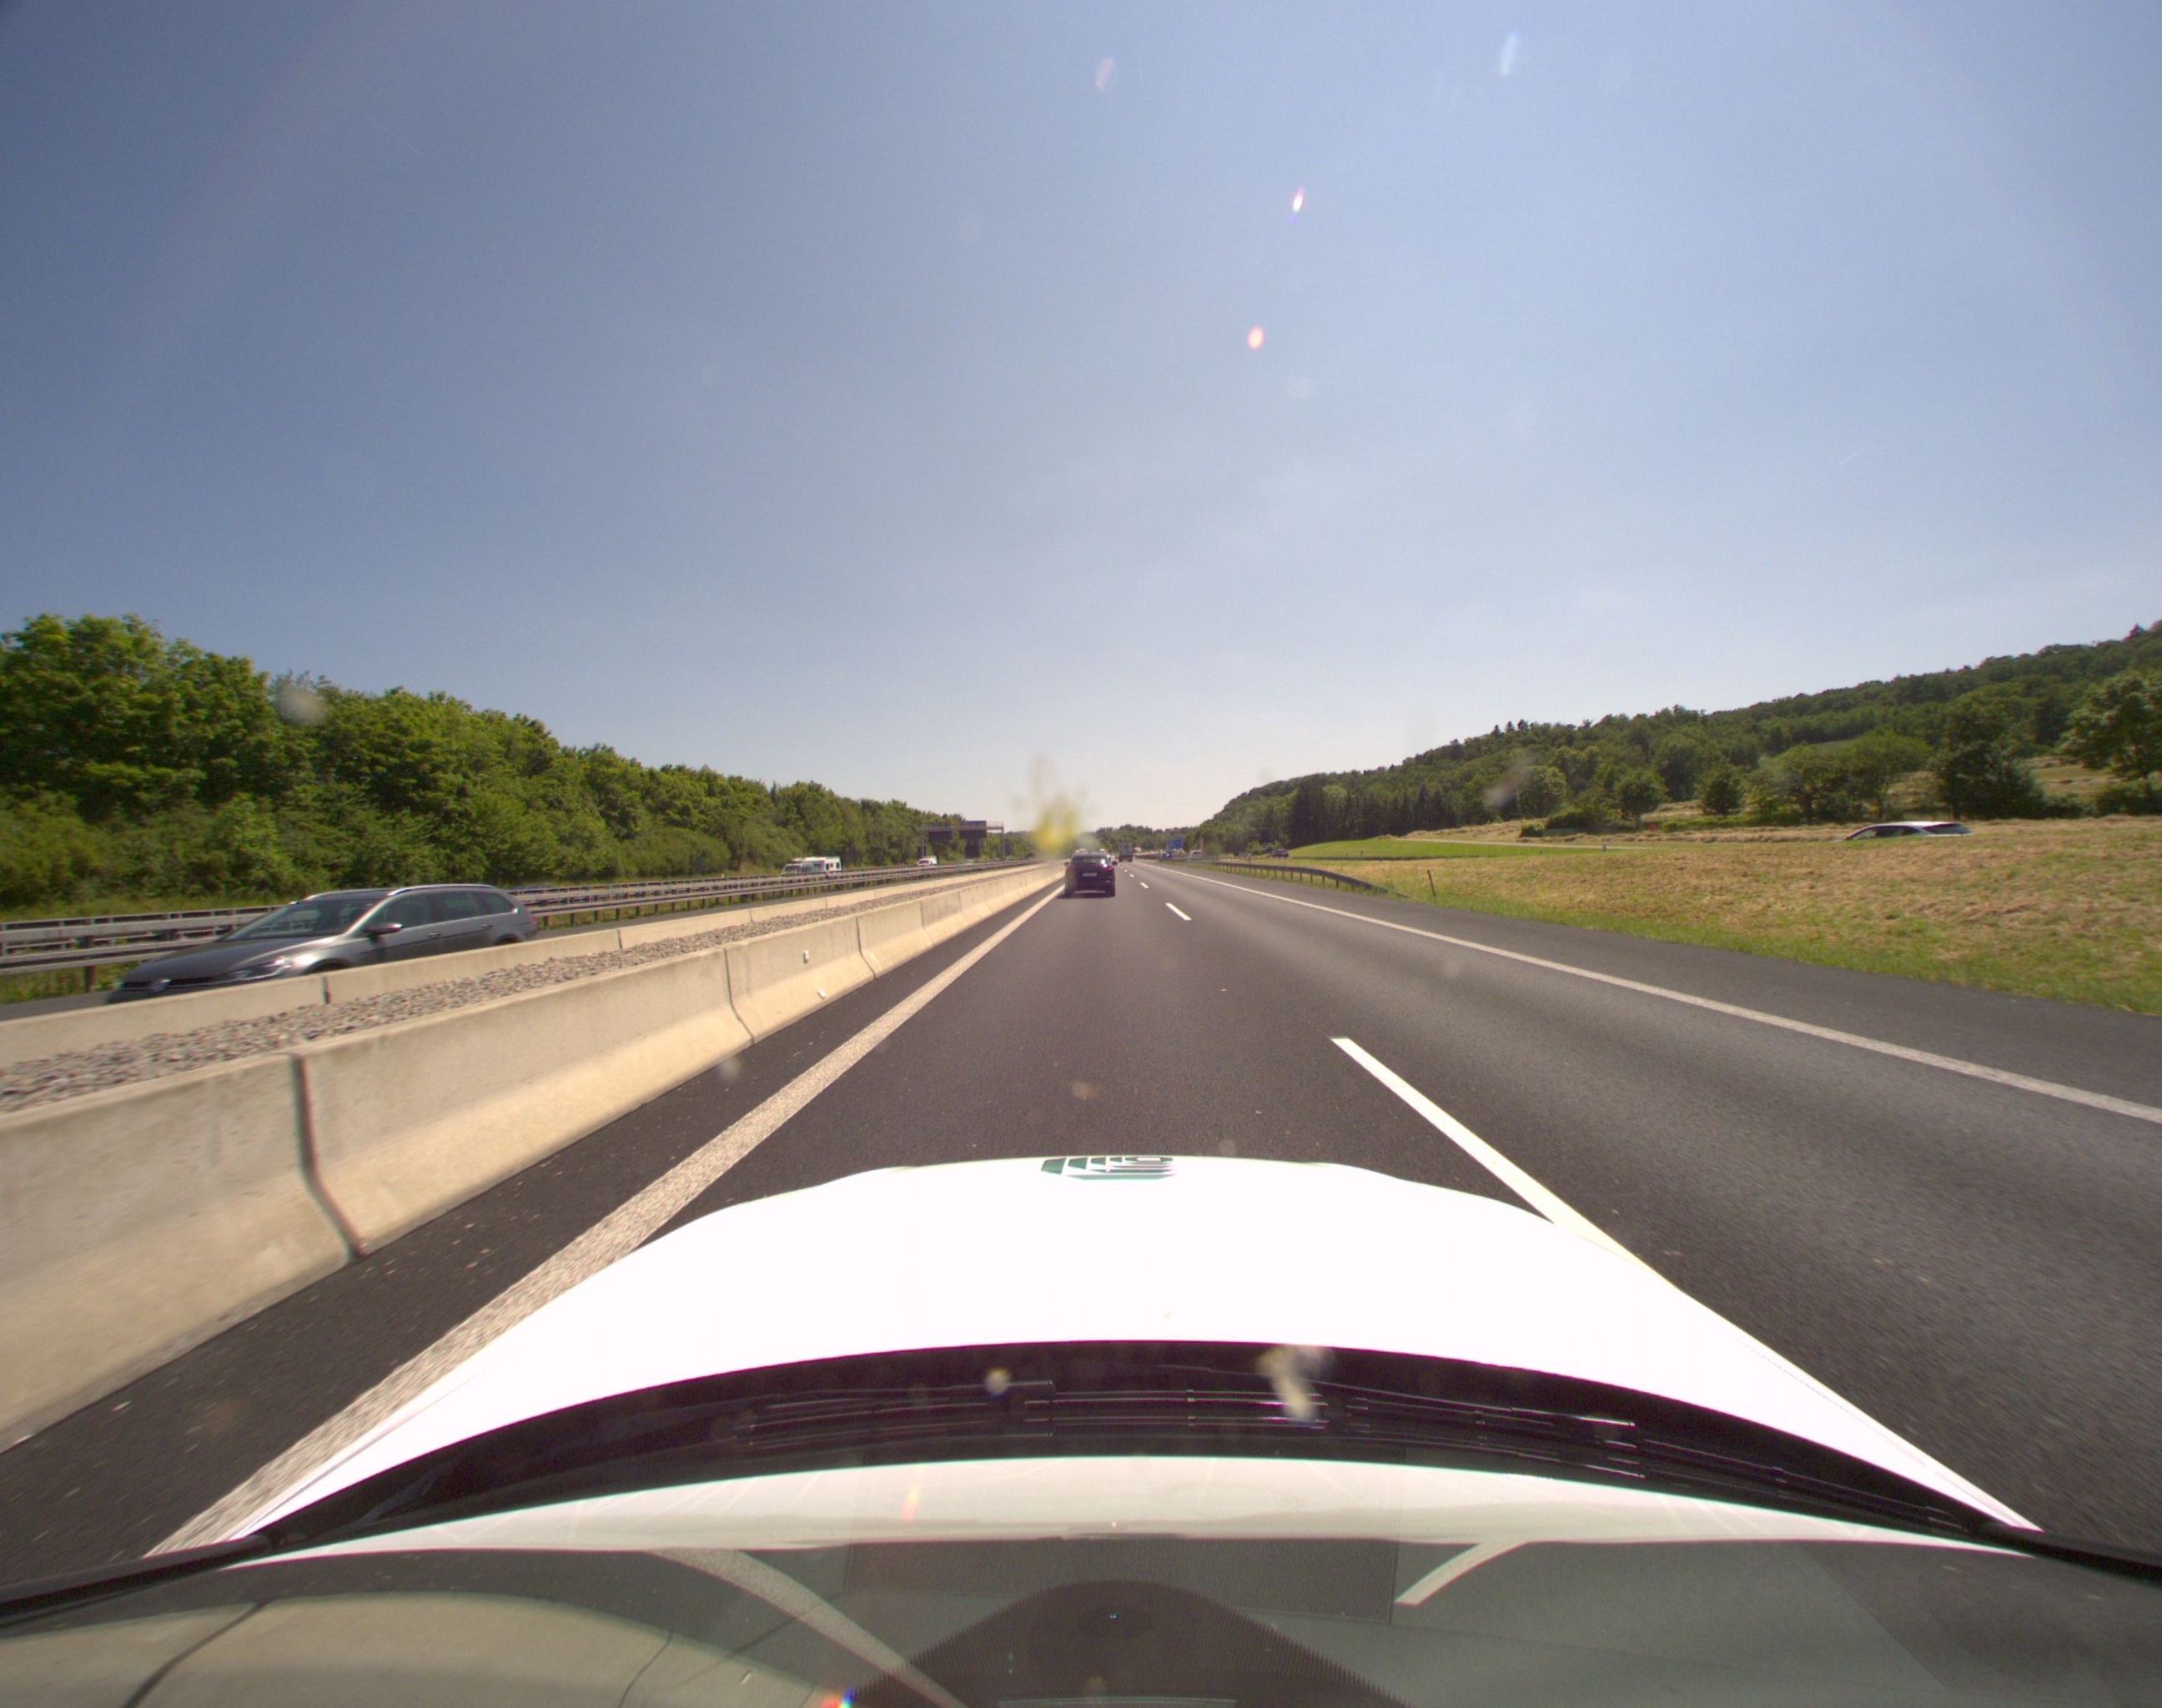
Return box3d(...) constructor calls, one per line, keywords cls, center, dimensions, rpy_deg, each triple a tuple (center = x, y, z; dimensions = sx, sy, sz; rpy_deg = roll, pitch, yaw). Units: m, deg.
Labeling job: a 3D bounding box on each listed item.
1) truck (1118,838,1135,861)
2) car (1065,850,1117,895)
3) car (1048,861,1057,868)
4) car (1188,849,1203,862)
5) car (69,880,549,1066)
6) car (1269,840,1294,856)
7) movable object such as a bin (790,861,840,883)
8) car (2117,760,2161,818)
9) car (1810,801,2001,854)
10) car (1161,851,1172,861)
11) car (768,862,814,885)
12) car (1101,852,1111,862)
box3d(cls="truck", center=(9.125, -0.812, 163.012), dimensions=(3.021, 4.418, 12.021), rpy_deg=(0, -1, 1))
box3d(cls="car", center=(0.327, 0.660, 30.287), dimensions=(1.774, 1.577, 3.998), rpy_deg=(0, -1, -1))
box3d(cls="car", center=(-6.646, 2.434, 189.969), dimensions=(1.829, 1.534, 4.156), rpy_deg=(0, -1, -1))
box3d(cls="car", center=(18.879, 0.197, 134.285), dimensions=(1.986, 2.013, 4.001), rpy_deg=(-3, 0, 2))
box3d(cls="car", center=(-8.938, 1.226, 10.108), dimensions=(1.788, 1.595, 4.307), rpy_deg=(-2, 0, 0))
box3d(cls="car", center=(27.167, -0.814, 110.403), dimensions=(1.990, 2.013, 3.993), rpy_deg=(-3, 0, -5))
box3d(cls="movable object such as a bin", center=(-25.300, 1.673, 77.881), dimensions=(2.498, 2.014, 6.780), rpy_deg=(0, -1, 1))
box3d(cls="car", center=(32.810, -1.970, 22.198), dimensions=(1.987, 1.662, 5.624), rpy_deg=(0, -1, -1))
box3d(cls="car", center=(28.951, -0.878, 28.830), dimensions=(1.992, 1.662, 4.456), rpy_deg=(0, -1, -7))
box3d(cls="car", center=(16.888, 0.369, 160.544), dimensions=(1.984, 2.014, 4.005), rpy_deg=(0, -1, 5))
box3d(cls="car", center=(-25.587, 1.698, 72.057), dimensions=(1.985, 1.806, 4.820), rpy_deg=(-3, 0, 3))
box3d(cls="car", center=(6.107, 0.714, 195.787), dimensions=(2.128, 2.216, 5.095), rpy_deg=(0, -1, 5))
